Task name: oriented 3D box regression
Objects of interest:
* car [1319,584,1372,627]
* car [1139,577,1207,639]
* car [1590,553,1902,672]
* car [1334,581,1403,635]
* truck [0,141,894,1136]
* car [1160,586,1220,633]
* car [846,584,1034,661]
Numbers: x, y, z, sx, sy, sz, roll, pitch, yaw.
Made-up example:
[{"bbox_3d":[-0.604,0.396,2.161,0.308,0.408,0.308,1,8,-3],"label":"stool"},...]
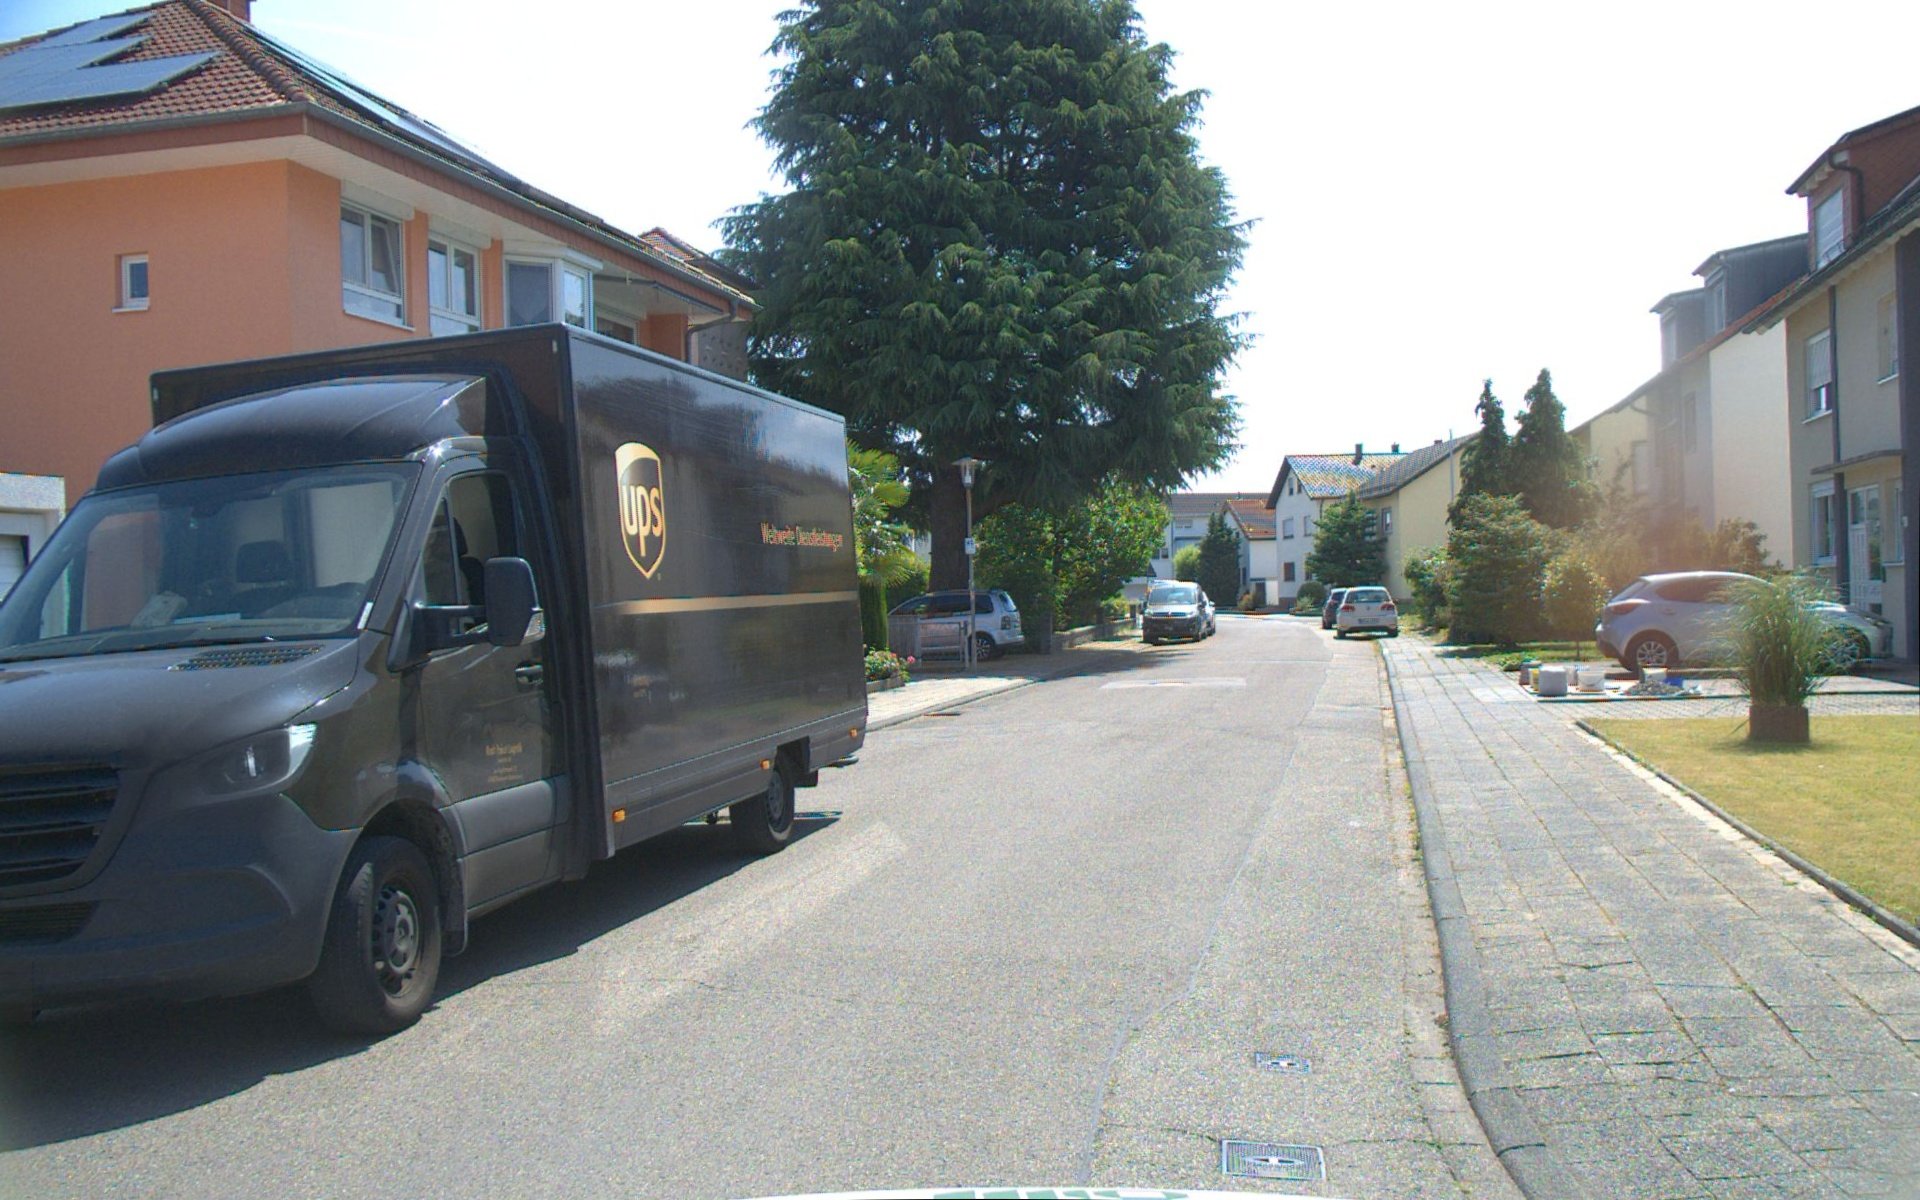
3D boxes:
[{"bbox_3d":[14.548,0.186,62.506,1.769,1.521,4.004,-2,0,11],"label":"car"},{"bbox_3d":[6.562,0.217,50.631,1.769,1.793,4.210,-2,0,11],"label":"car"},{"bbox_3d":[11.464,0.185,24.379,3.830,1.536,1.775,-3,0,15],"label":"car"},{"bbox_3d":[12.233,0.212,49.734,1.769,1.521,4.004,-2,0,11],"label":"car"},{"bbox_3d":[-2.524,0.167,8.541,2.382,2.836,7.304,-4,-1,12],"label":"truck"},{"bbox_3d":[7.898,0.298,56.653,1.769,1.521,4.004,-2,0,11],"label":"car"},{"bbox_3d":[-0.465,0.535,39.649,4.104,1.682,1.815,-2,0,17],"label":"car"}]
